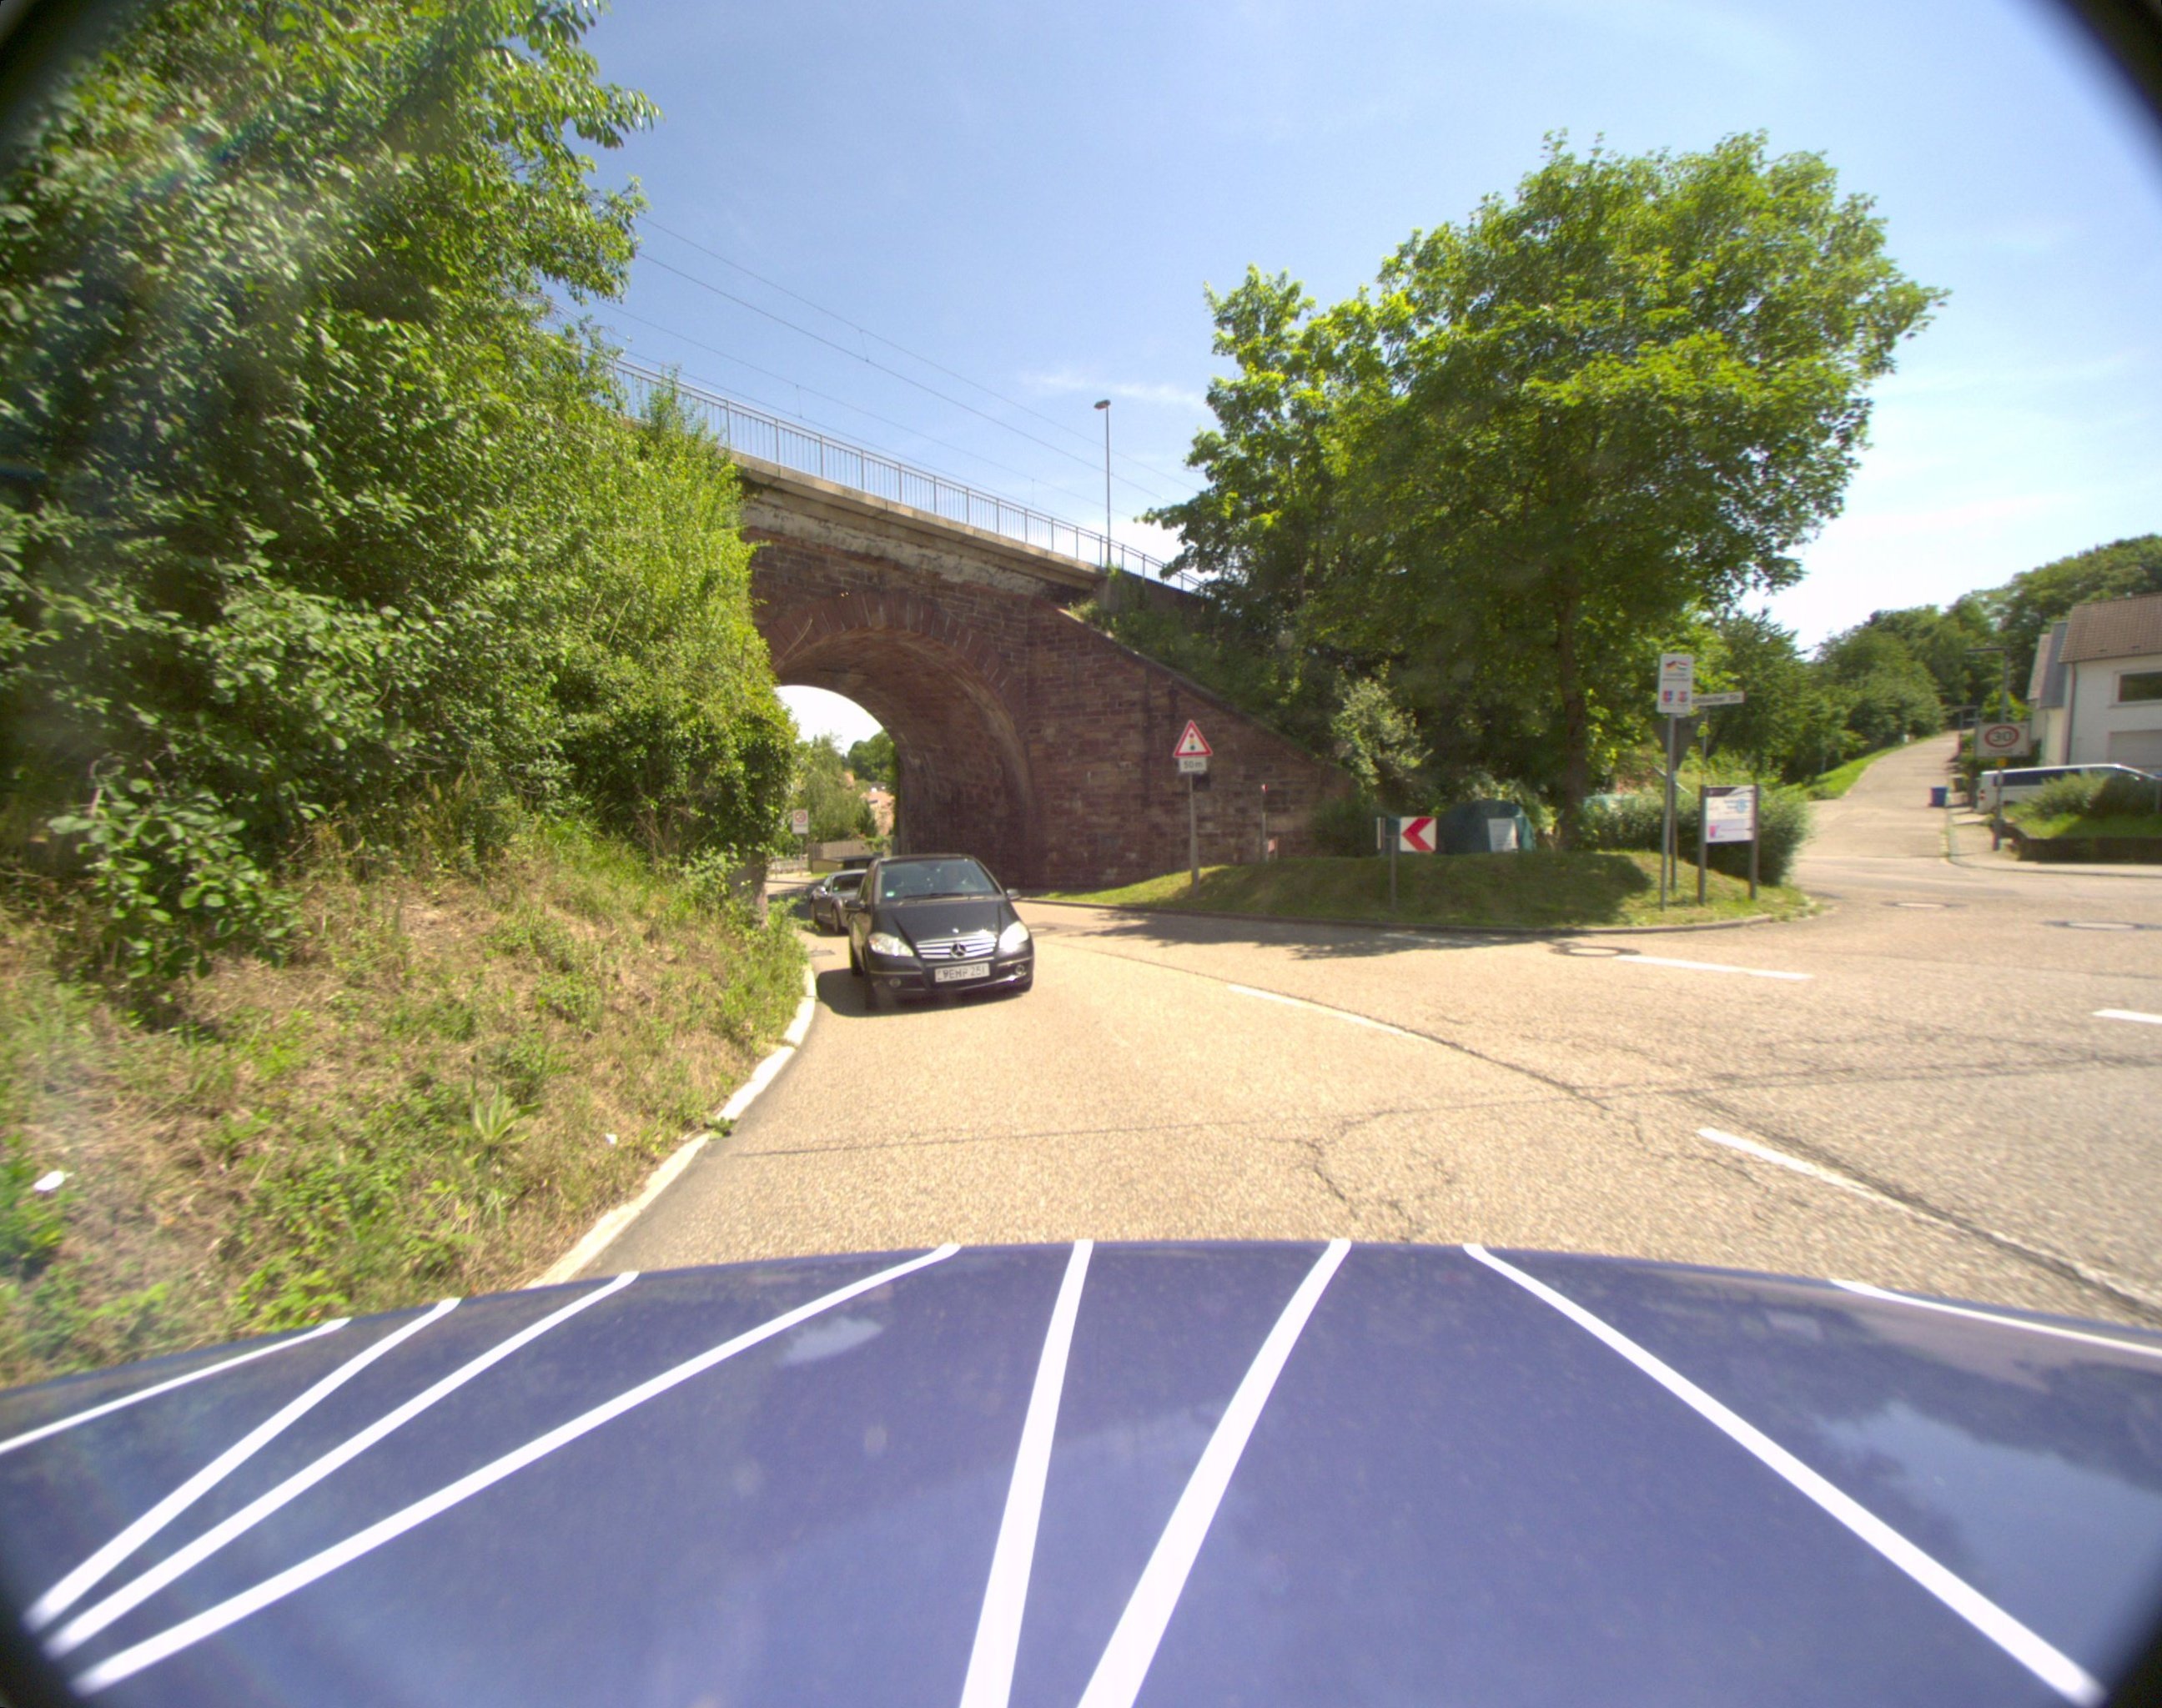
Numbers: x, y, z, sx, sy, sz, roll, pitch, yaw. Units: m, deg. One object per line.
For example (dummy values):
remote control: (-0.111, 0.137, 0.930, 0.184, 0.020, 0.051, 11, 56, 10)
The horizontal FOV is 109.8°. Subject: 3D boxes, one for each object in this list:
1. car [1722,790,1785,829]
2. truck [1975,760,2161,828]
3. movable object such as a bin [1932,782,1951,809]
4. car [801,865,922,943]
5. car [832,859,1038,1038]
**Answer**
car: (29.759, -1.977, 33.629, 1.994, 1.499, 4.006, 0, 5, 42)
truck: (35.813, -2.123, 27.578, 2.003, 2.002, 4.304, -4, 0, -40)
movable object such as a bin: (44.873, -3.041, 39.614, 0.538, 1.365, 0.600, -4, 2, -36)
car: (-4.853, 0.993, 16.541, 1.650, 1.315, 3.430, -6, 3, -30)
car: (-1.963, 0.901, 9.195, 1.798, 1.570, 3.793, -3, 1, -20)
